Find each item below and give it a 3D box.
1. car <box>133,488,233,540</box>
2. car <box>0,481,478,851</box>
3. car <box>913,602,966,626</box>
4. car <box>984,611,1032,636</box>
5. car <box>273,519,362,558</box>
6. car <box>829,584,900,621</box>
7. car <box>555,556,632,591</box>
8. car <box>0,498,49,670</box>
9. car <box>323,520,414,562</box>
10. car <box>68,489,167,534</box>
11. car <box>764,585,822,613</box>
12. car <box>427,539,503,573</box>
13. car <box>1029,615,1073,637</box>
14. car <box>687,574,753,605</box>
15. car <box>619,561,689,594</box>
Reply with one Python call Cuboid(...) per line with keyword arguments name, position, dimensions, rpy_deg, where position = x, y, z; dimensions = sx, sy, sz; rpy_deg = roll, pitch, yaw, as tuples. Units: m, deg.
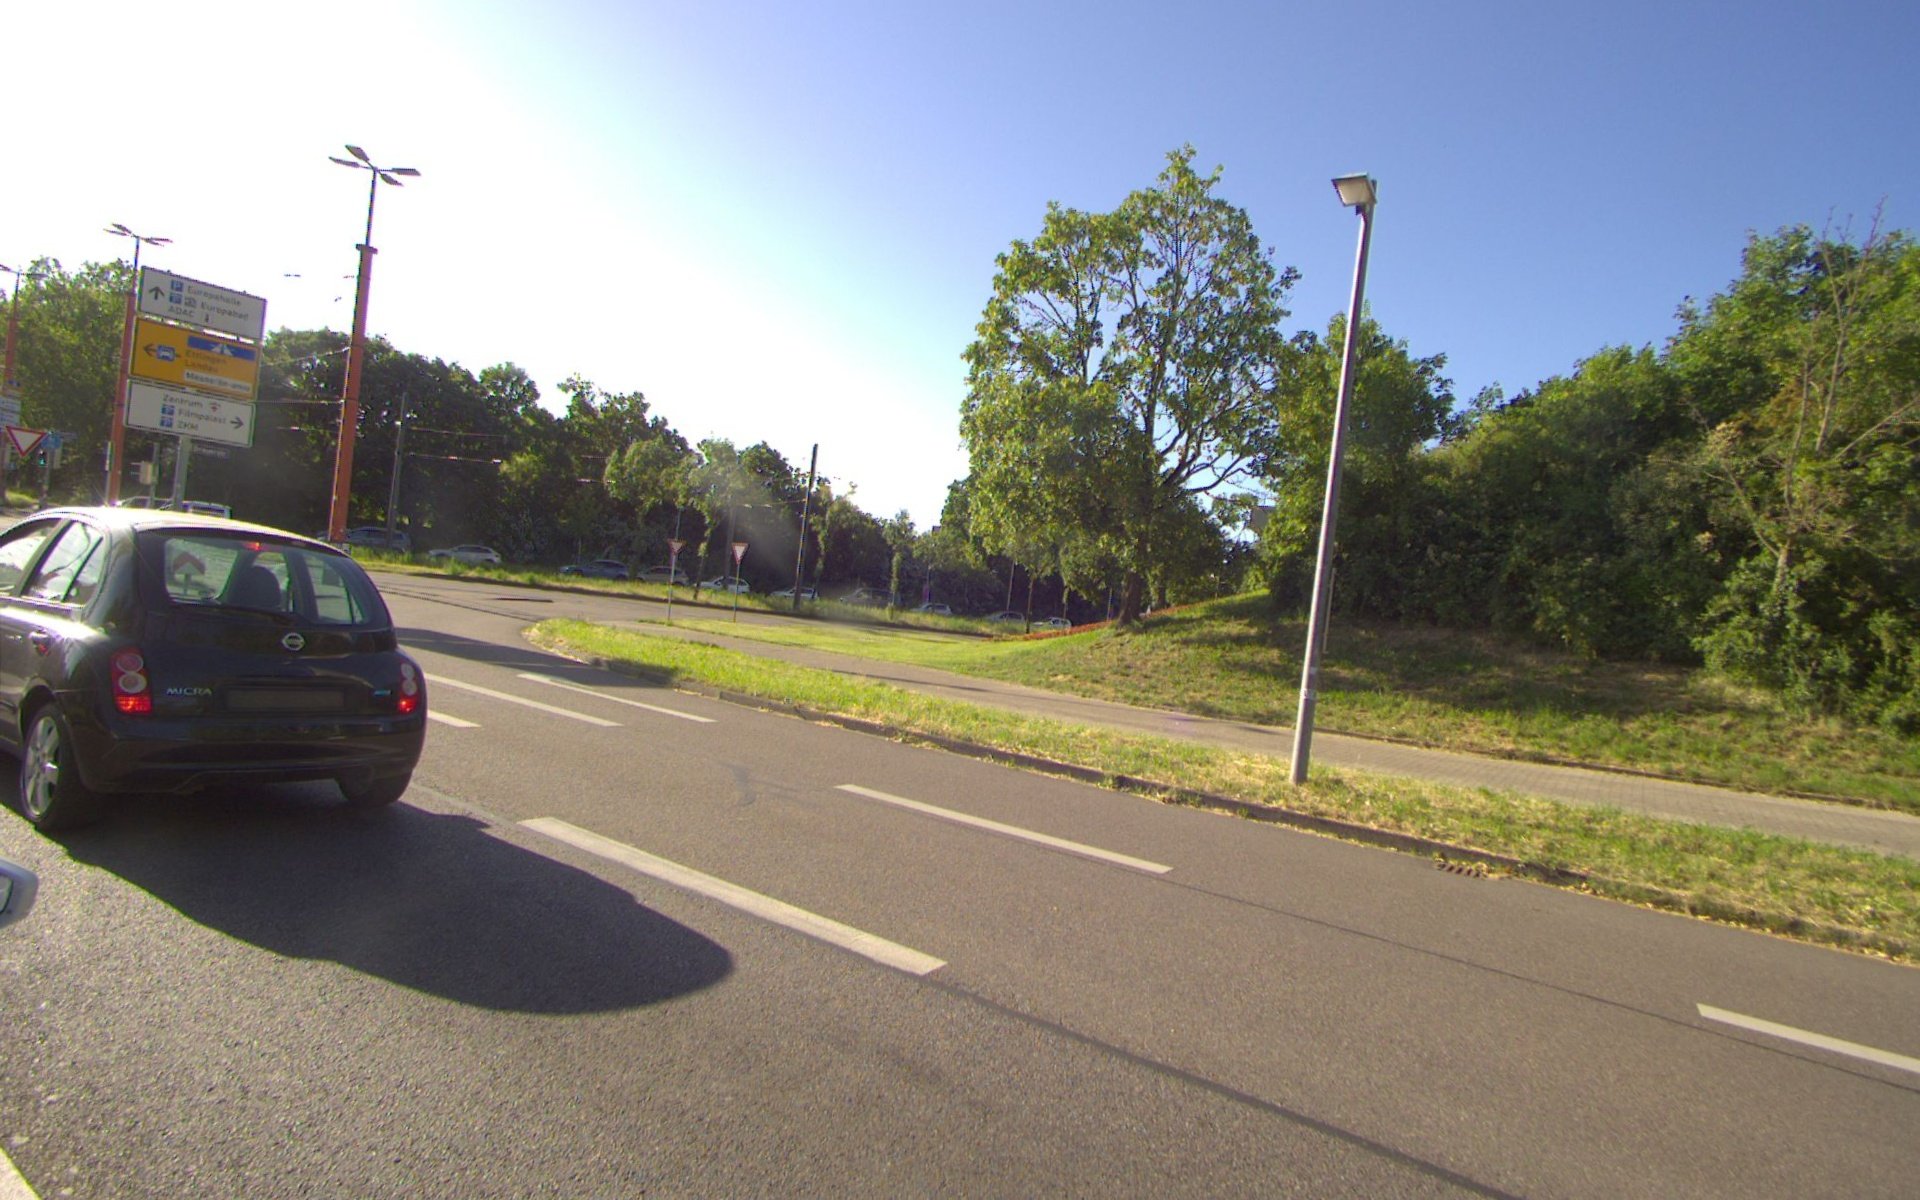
Cuboid(name="car", position=(-39.964, -4.379, 51.861), dimensions=(3.812, 1.911, 1.747), rpy_deg=(9, -2, -35))
Cuboid(name="car", position=(-4.720, 0.210, 5.900), dimensions=(3.555, 1.518, 1.656), rpy_deg=(7, -1, 33))
Cuboid(name="car", position=(-1.625, 1.096, 79.072), dimensions=(3.804, 1.278, 1.590), rpy_deg=(9, -2, -32))
Cuboid(name="car", position=(3.758, 1.850, 78.032), dimensions=(3.369, 1.475, 1.453), rpy_deg=(8, -1, -31))
Cuboid(name="car", position=(-36.624, -3.495, 57.470), dimensions=(4.095, 1.528, 1.808), rpy_deg=(9, -2, -32))
Cuboid(name="car", position=(-6.836, 0.211, 72.059), dimensions=(4.536, 2.038, 1.984), rpy_deg=(8, 0, -30))
Cuboid(name="car", position=(-22.747, -1.645, 62.446), dimensions=(4.089, 1.617, 1.815), rpy_deg=(8, -1, -31))
Cuboid(name="car", position=(-10.227, -0.393, 9.217), dimensions=(4.130, 1.454, 1.723), rpy_deg=(7, -1, 34))
Cuboid(name="car", position=(-32.944, -3.256, 56.094), dimensions=(4.151, 1.663, 1.746), rpy_deg=(9, -2, -32))
Cuboid(name="car", position=(-44.203, -4.613, 52.864), dimensions=(3.619, 1.674, 1.666), rpy_deg=(9, -2, -33))
Cuboid(name="car", position=(-11.961, -0.045, 72.194), dimensions=(3.708, 1.491, 1.588), rpy_deg=(8, -1, -31))
Cuboid(name="car", position=(-30.143, -2.665, 61.292), dimensions=(3.936, 1.457, 1.674), rpy_deg=(9, -2, -30))
Cuboid(name="car", position=(7.594, 2.150, 83.915), dimensions=(3.413, 1.384, 1.280), rpy_deg=(9, -2, -31))
Cuboid(name="car", position=(-15.892, -0.686, 66.613), dimensions=(3.789, 1.541, 1.683), rpy_deg=(8, -1, -29))
Cuboid(name="car", position=(-20.721, -1.503, 68.142), dimensions=(4.088, 1.663, 1.839), rpy_deg=(8, -1, -29))
